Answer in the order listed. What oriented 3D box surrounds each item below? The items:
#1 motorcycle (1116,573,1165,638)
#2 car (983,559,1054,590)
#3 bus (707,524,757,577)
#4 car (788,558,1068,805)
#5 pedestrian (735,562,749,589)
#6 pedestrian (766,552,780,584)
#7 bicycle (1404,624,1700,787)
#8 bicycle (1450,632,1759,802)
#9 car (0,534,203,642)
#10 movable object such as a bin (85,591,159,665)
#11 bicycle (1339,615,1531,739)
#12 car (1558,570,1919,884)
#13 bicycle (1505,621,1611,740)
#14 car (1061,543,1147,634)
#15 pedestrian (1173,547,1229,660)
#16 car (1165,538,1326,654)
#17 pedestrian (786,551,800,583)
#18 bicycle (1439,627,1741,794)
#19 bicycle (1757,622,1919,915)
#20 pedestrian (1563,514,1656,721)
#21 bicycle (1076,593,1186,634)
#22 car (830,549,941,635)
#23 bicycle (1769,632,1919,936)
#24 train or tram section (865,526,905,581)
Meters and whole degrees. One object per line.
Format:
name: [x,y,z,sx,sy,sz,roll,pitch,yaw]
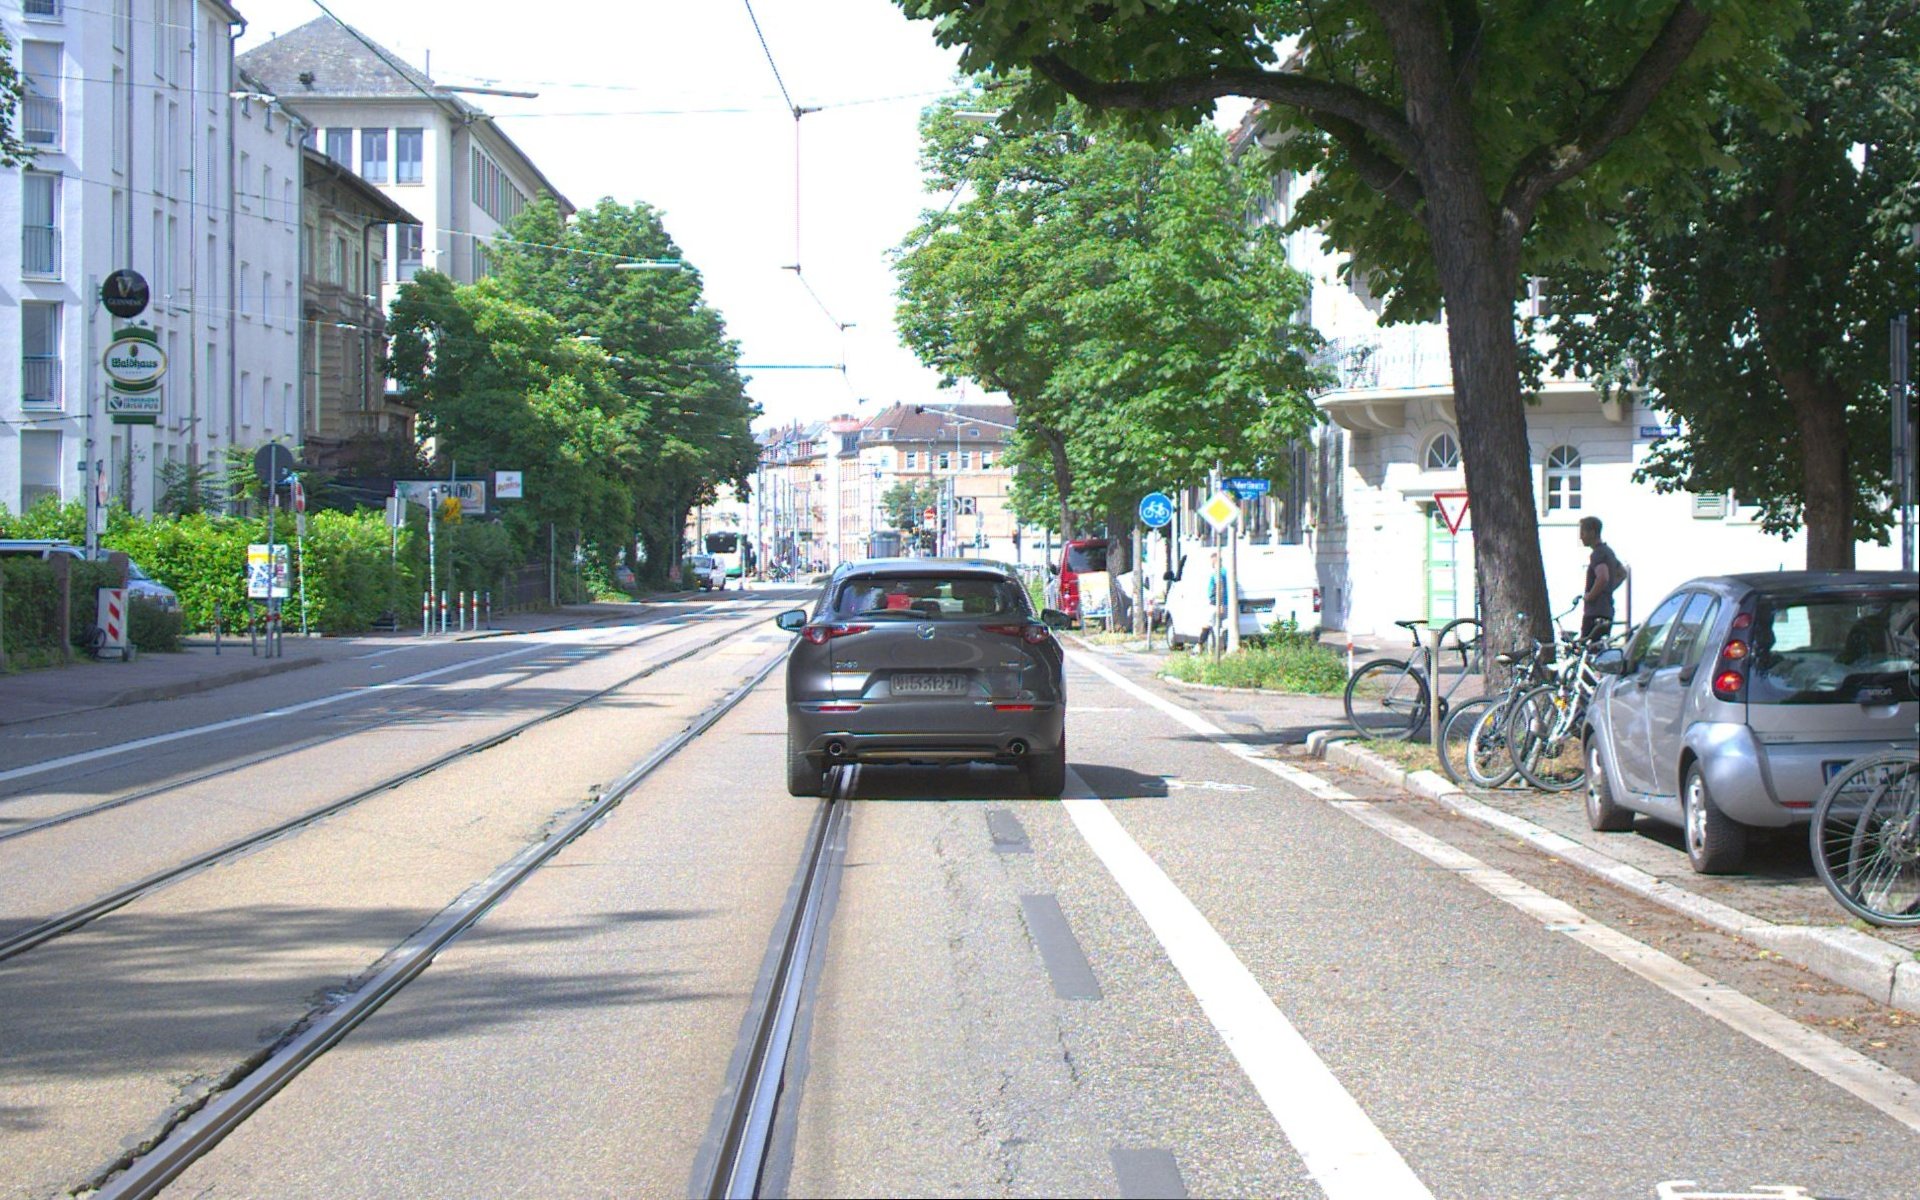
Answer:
motorcycle: [3.612,0.102,69.008,0.794,1.267,2.422,0,1,-1]
car: [3.438,-1.491,201.547,3.805,1.612,1.638,2,0,-18]
bus: [-15.689,-3.390,235.752,2.688,3.409,11.020,2,1,-7]
car: [-0.240,0.480,23.024,1.720,1.521,3.590,0,1,-1]
pedestrian: [-12.051,-1.366,189.890,0.751,1.505,0.824,0,1,-5]
pedestrian: [-11.672,-1.993,214.413,0.884,2.007,0.618,0,1,-5]
bicycle: [3.949,0.700,22.984,1.903,1.068,0.402,0,0,0]
bicycle: [4.143,0.746,22.144,1.903,1.068,0.402,0,0,0]
car: [-17.047,-0.259,65.763,4.667,2.007,2.044,0,1,21]
movable object such as a bin: [-11.713,0.388,48.063,0.745,0.984,1.114,2,0,-1]
bicycle: [3.801,0.616,27.527,1.491,0.980,0.259,0,0,1]
car: [4.350,0.584,18.116,1.666,1.425,3.766,-2,1,-1]
bicycle: [4.749,0.623,27.366,0.258,0.897,1.773,0,0,-9]
car: [3.180,-0.284,76.554,1.720,1.962,4.207,0,1,0]
pedestrian: [3.964,0.047,56.634,0.815,1.829,0.962,0,1,-2]
car: [4.891,-0.104,59.628,1.786,1.932,4.992,0,1,-7]
pedestrian: [-10.410,-2.042,214.451,0.884,2.007,0.618,0,1,-5]
bicycle: [4.126,0.718,22.567,1.903,1.068,0.402,0,0,0]
bicycle: [4.242,0.675,14.018,1.895,1.172,0.513,-1,0,11]
pedestrian: [5.826,0.161,30.870,0.610,1.830,0.879,0,-1,-3]
bicycle: [3.627,0.284,72.870,2.275,0.858,0.672,0,1,-2]
car: [-1.429,-0.168,65.712,1.993,1.523,4.000,2,0,-1]
bicycle: [4.184,0.709,13.470,1.938,1.172,0.513,-1,0,11]
train or tram section: [-5.239,-3.238,241.569,2.571,3.760,13.026,0,1,0]
